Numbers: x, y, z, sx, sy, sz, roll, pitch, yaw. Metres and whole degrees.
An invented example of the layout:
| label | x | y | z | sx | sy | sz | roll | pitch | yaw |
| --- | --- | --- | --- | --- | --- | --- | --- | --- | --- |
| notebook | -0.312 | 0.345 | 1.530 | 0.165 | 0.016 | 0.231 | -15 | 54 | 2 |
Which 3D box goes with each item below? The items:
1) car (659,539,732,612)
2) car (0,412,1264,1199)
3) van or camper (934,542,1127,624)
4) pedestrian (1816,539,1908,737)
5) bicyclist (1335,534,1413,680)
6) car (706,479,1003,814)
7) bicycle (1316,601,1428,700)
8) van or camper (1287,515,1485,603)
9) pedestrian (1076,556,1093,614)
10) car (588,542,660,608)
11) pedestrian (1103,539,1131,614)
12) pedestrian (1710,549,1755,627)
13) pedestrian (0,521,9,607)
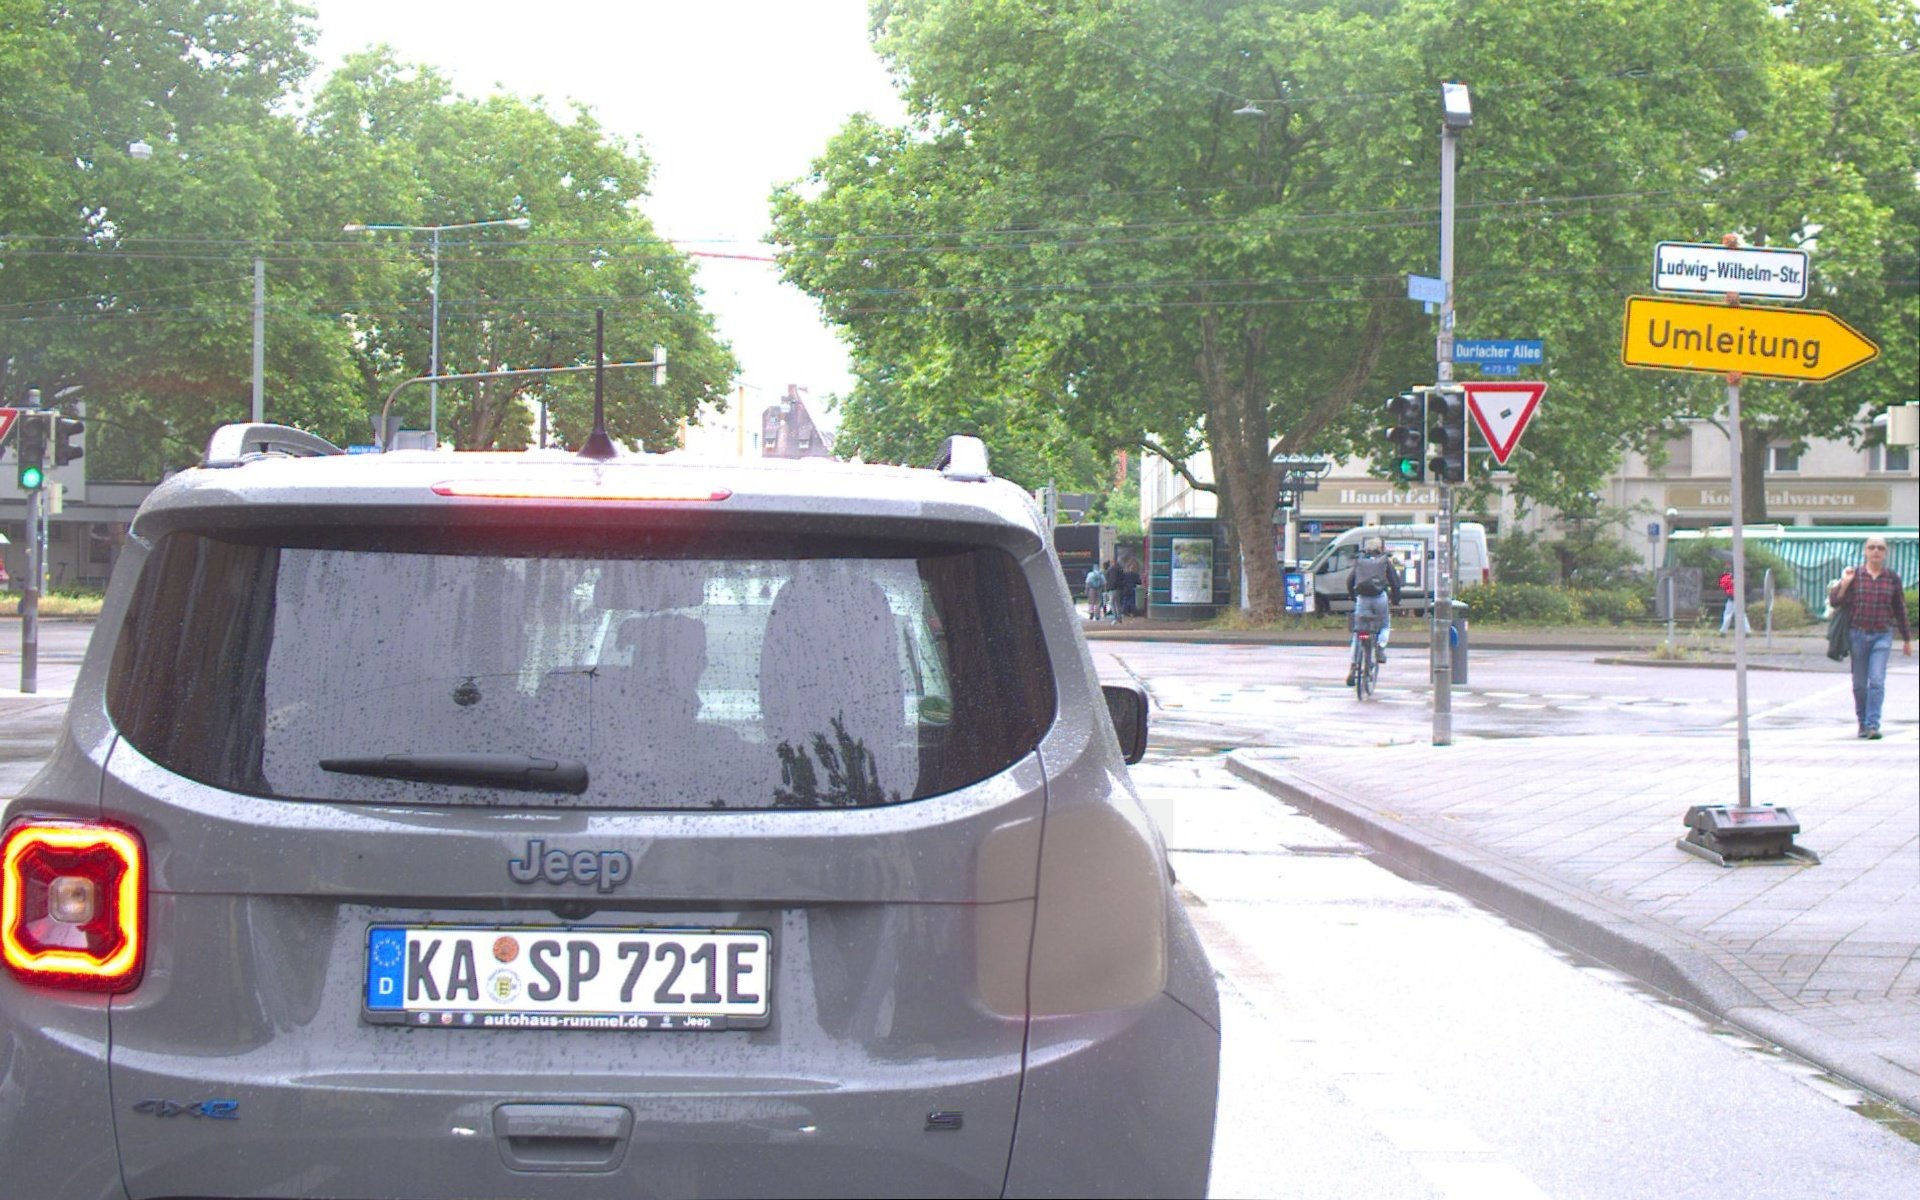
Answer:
| label | x | y | z | sx | sy | sz | roll | pitch | yaw |
| --- | --- | --- | --- | --- | --- | --- | --- | --- | --- |
| car | -6.498 | -0.623 | 84.306 | 1.721 | 1.733 | 3.730 | 0 | 1 | -5 |
| car | -0.569 | 0.585 | 6.175 | 1.775 | 1.681 | 3.848 | -1 | 1 | -2 |
| van or camper | 2.549 | -0.642 | 124.749 | 6.535 | 2.902 | 2.491 | 1 | 1 | 24 |
| pedestrian | 8.136 | 0.328 | 31.036 | 0.786 | 1.753 | 0.945 | 0 | 1 | 14 |
| bicyclist | 4.632 | 0.068 | 38.459 | 0.687 | 1.612 | 0.883 | 0 | 1 | 19 |
| car | -0.675 | 0.251 | 22.671 | 1.770 | 2.007 | 4.000 | 0 | 1 | -1 |
| bicycle | 4.628 | 0.545 | 38.442 | 0.692 | 1.018 | 2.655 | 0 | 1 | 19 |
| van or camper | 11.706 | -1.146 | 94.782 | 5.260 | 2.307 | 2.090 | 1 | 1 | 3 |
| pedestrian | 3.669 | -0.442 | 101.464 | 0.458 | 1.698 | 0.424 | 0 | 1 | 0 |
| car | -8.731 | -0.673 | 89.362 | 1.813 | 1.665 | 3.921 | 0 | 1 | -5 |
| pedestrian | 4.231 | -0.632 | 92.697 | 0.651 | 2.007 | 0.482 | 1 | 1 | 12 |
| pedestrian | 15.458 | -0.240 | 68.794 | 0.674 | 1.548 | 0.760 | 1 | -1 | 27 |
| pedestrian | -20.421 | -0.754 | 72.186 | 0.619 | 1.820 | 0.694 | 0 | 1 | 13 |
